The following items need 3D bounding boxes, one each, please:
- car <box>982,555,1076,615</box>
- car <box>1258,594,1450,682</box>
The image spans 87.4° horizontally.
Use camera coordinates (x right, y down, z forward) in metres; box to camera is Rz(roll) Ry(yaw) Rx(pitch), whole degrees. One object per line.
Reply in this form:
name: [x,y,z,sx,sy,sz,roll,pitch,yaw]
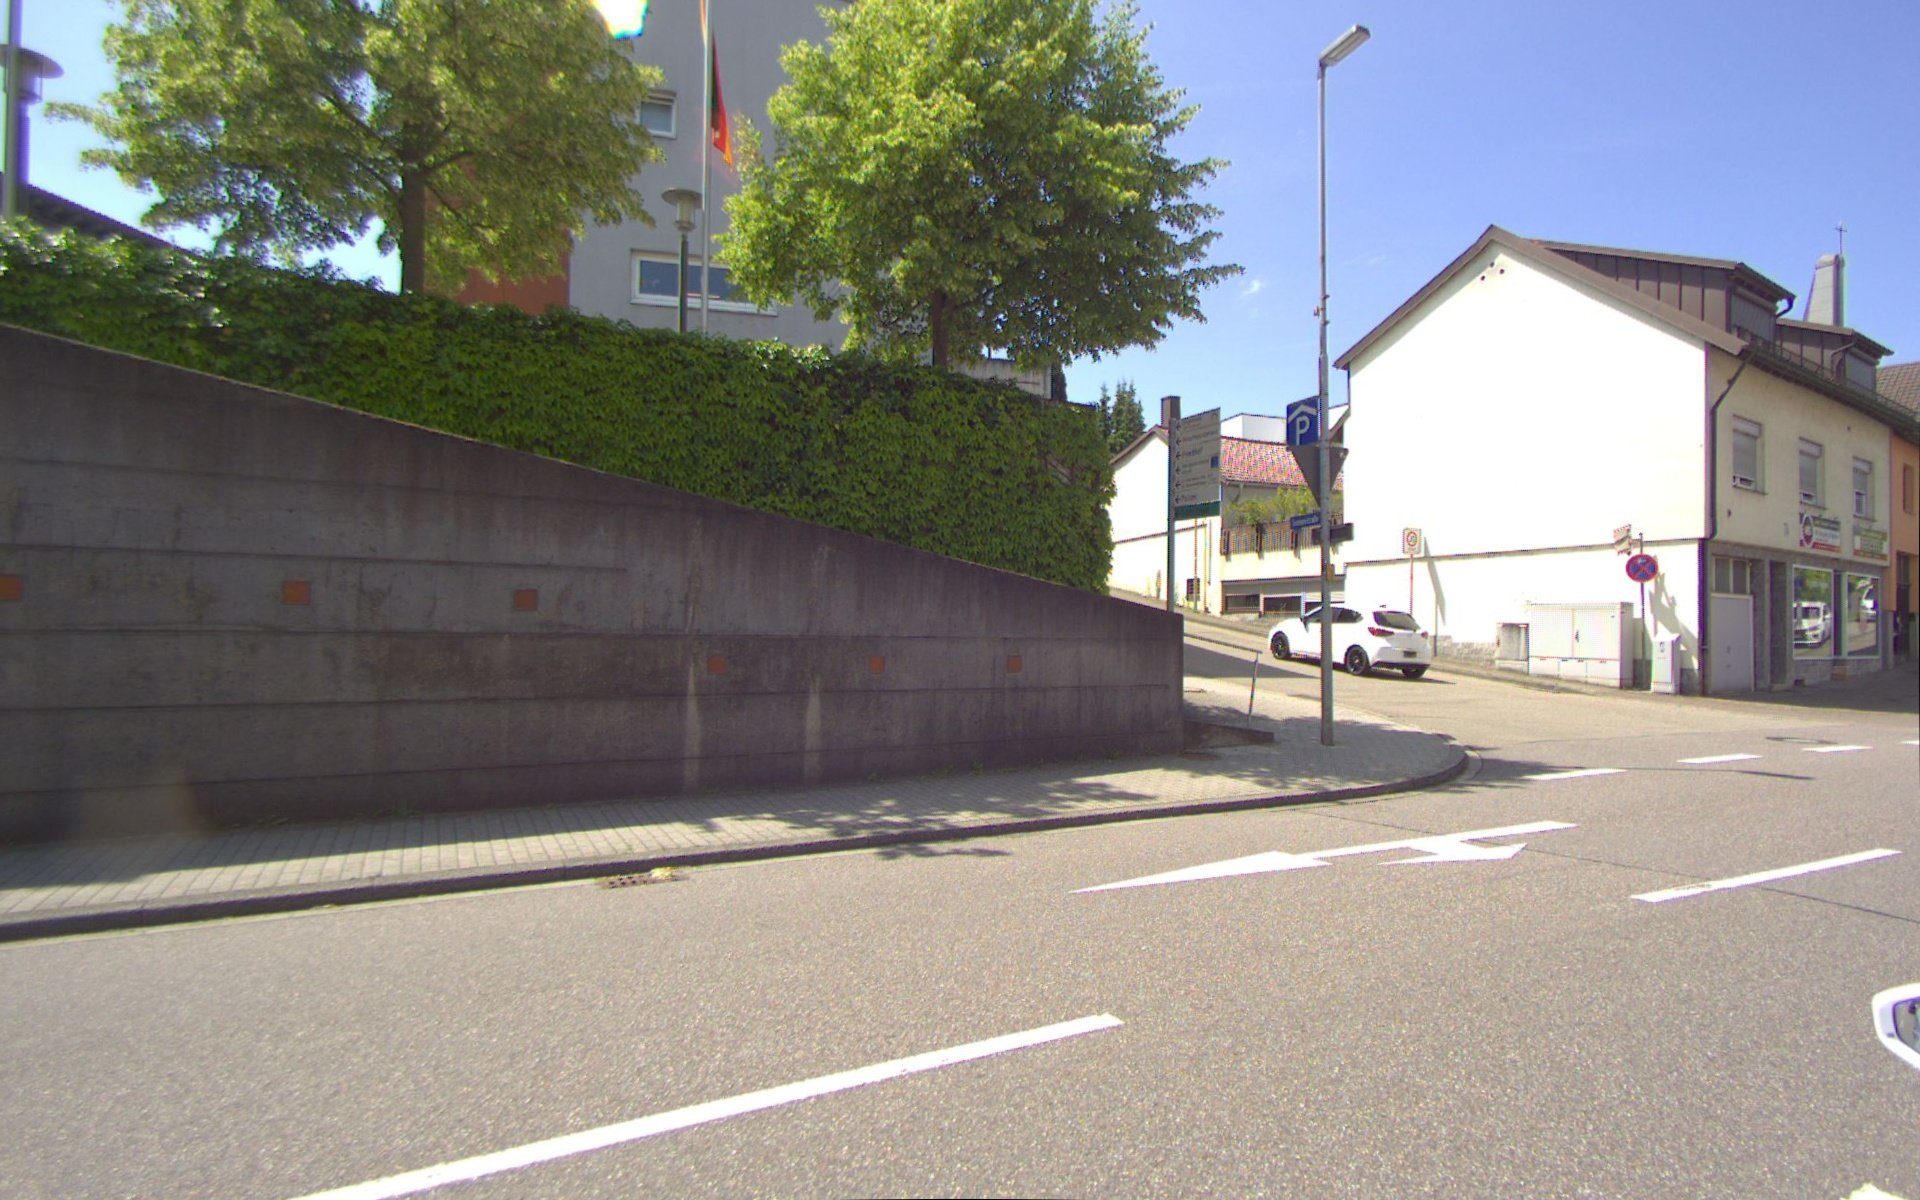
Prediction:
car: [2.048,-0.521,31.370,1.727,1.441,4.493,1,6,-12]
car: [8.651,0.769,22.437,1.785,1.487,3.982,1,5,-19]
